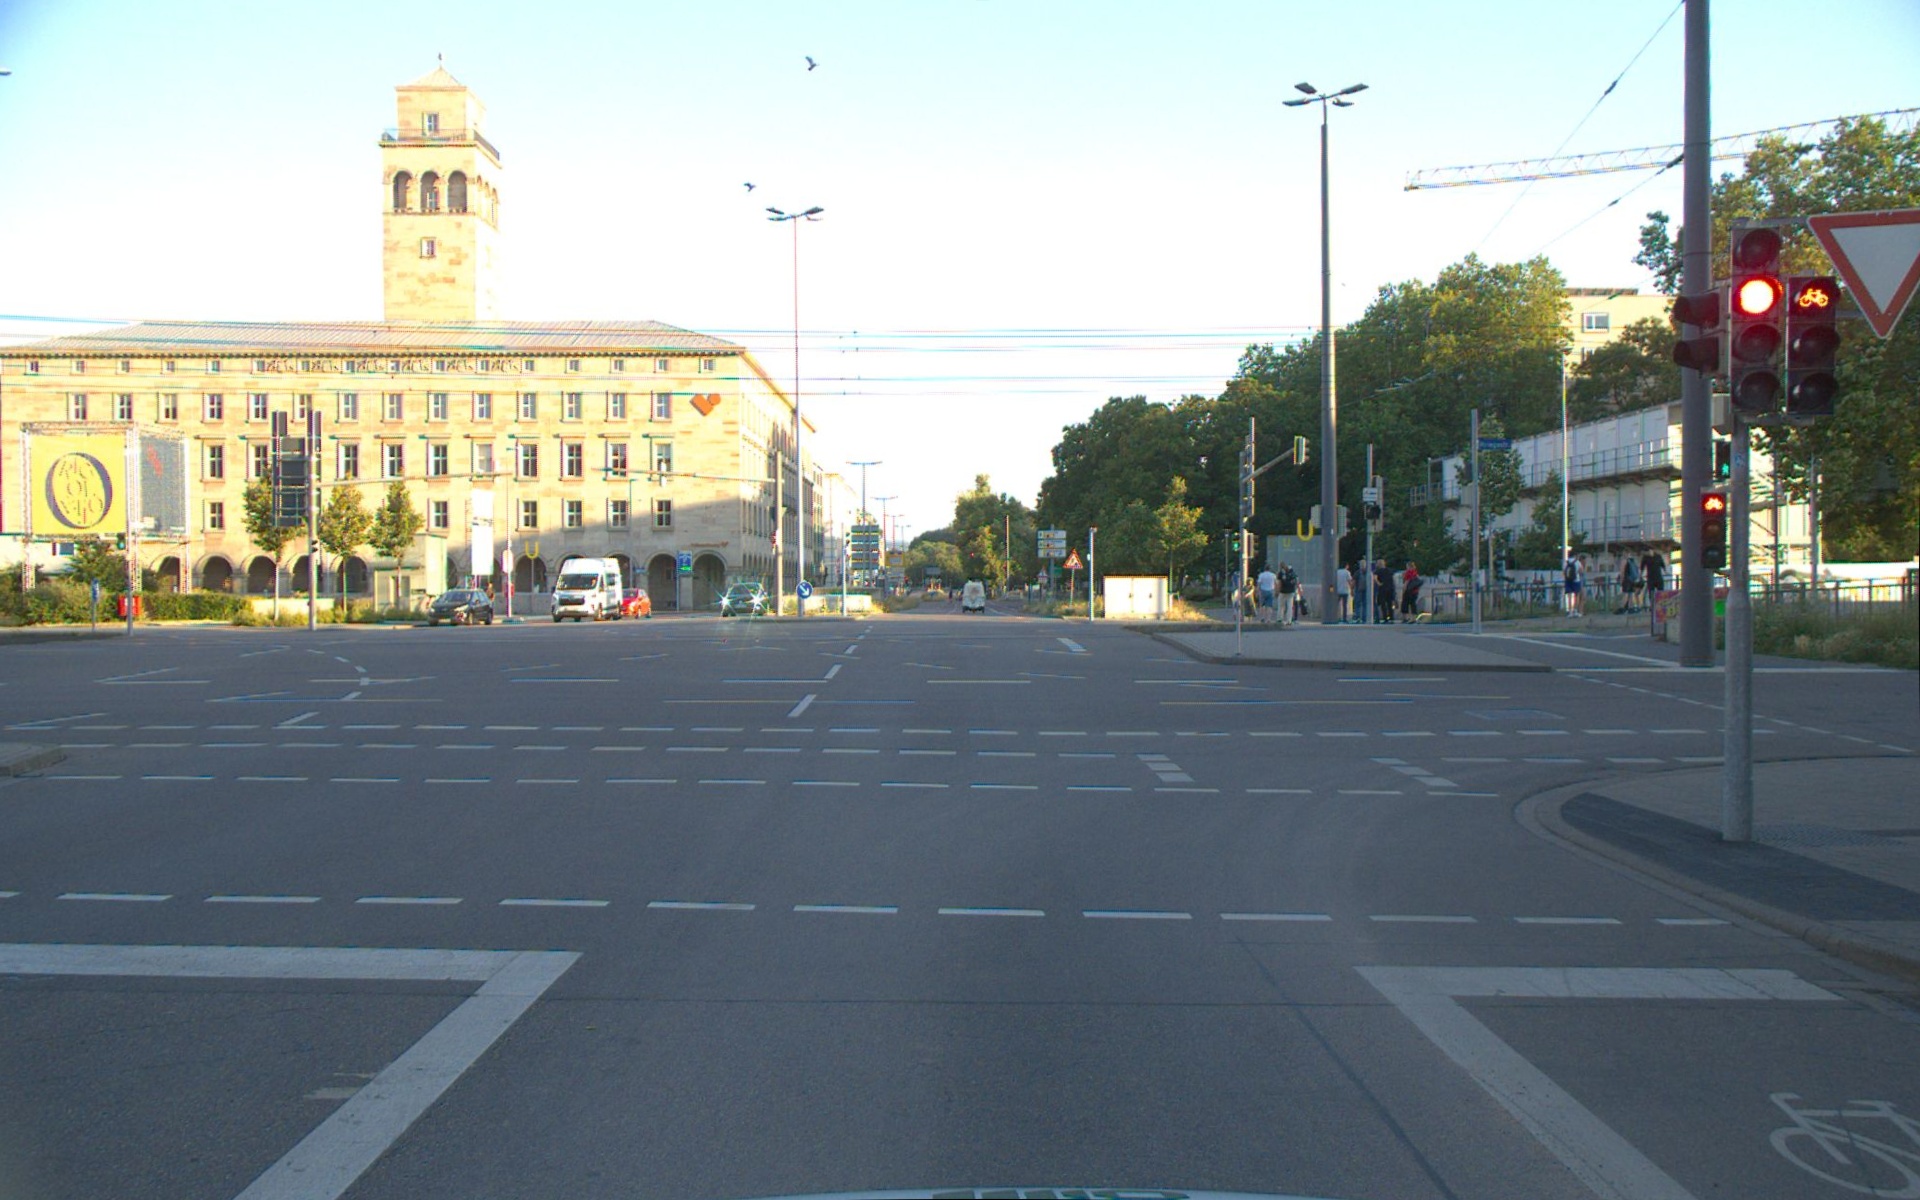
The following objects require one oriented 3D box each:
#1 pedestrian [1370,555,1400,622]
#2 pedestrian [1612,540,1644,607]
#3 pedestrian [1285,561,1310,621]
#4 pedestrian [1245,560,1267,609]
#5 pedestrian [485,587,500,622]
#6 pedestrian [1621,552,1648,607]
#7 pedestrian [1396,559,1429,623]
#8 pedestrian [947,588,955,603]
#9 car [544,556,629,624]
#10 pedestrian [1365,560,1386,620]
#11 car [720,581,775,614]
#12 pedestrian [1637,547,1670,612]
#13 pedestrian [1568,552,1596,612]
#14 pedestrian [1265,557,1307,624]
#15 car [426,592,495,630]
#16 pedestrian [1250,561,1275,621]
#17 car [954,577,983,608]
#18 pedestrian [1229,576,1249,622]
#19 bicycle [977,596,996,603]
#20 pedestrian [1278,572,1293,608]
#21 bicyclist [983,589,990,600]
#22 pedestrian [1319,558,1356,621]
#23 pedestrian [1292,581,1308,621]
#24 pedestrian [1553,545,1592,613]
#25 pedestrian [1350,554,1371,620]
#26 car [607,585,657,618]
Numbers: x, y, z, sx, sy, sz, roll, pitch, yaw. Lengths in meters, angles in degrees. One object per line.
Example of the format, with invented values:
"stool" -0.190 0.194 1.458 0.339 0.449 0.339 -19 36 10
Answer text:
"pedestrian" 11.775 -0.320 45.849 0.788 1.822 0.801 0 1 13
"pedestrian" 17.635 -0.689 43.673 0.696 1.755 0.669 0 1 16
"pedestrian" 9.999 -0.260 48.998 0.695 1.755 0.669 0 1 13
"pedestrian" 10.857 -0.575 60.629 0.665 1.788 0.902 0 1 20
"pedestrian" -24.361 0.243 86.181 0.609 1.774 0.459 1 -1 -6
"pedestrian" 18.073 -0.543 44.316 0.662 1.466 0.714 0 0 21
"pedestrian" 12.646 -0.260 46.249 0.826 1.764 0.706 0 1 11
"pedestrian" -1.066 -0.557 194.712 0.888 1.700 1.306 -1 1 -2
"car" -16.243 -0.466 72.231 2.232 2.824 6.085 -1 1 1
"pedestrian" 11.889 -0.280 47.305 0.560 1.708 0.639 0 1 13
"car" -9.279 -0.134 72.494 1.785 1.365 4.001 0 1 1
"pedestrian" 18.895 -0.562 45.094 0.695 1.755 0.669 0 1 10
"pedestrian" 16.873 -0.484 44.862 0.559 1.620 0.536 -1 0 -1
"pedestrian" 8.726 -0.264 44.347 0.702 1.755 0.907 -1 1 -27
"car" -21.102 0.431 70.004 1.786 1.491 4.156 -1 1 -2
"pedestrian" 8.934 -0.279 48.816 0.695 1.755 0.669 0 1 13
"car" 0.499 -0.452 96.841 1.454 1.725 2.972 -1 1 -4
"pedestrian" 10.267 -0.038 60.849 0.548 1.683 0.902 0 1 20
"bicycle" 3.610 -0.070 224.637 2.556 0.975 0.513 1 -1 -13
"pedestrian" 17.169 -0.536 87.216 0.652 1.874 0.713 0 1 4
"bicyclist" 3.554 -0.732 224.628 0.816 1.489 0.658 -1 1 -13
"pedestrian" 10.674 -0.307 46.834 0.893 1.755 0.713 0 1 1
"pedestrian" 12.716 0.029 61.886 0.560 1.463 0.639 0 1 11
"pedestrian" 16.070 -0.553 43.375 0.660 1.755 0.705 -1 1 -33
"pedestrian" 11.154 -0.355 46.067 0.560 1.822 0.639 0 1 13
"car" -16.022 0.057 80.931 1.703 1.513 4.000 -1 1 -1
